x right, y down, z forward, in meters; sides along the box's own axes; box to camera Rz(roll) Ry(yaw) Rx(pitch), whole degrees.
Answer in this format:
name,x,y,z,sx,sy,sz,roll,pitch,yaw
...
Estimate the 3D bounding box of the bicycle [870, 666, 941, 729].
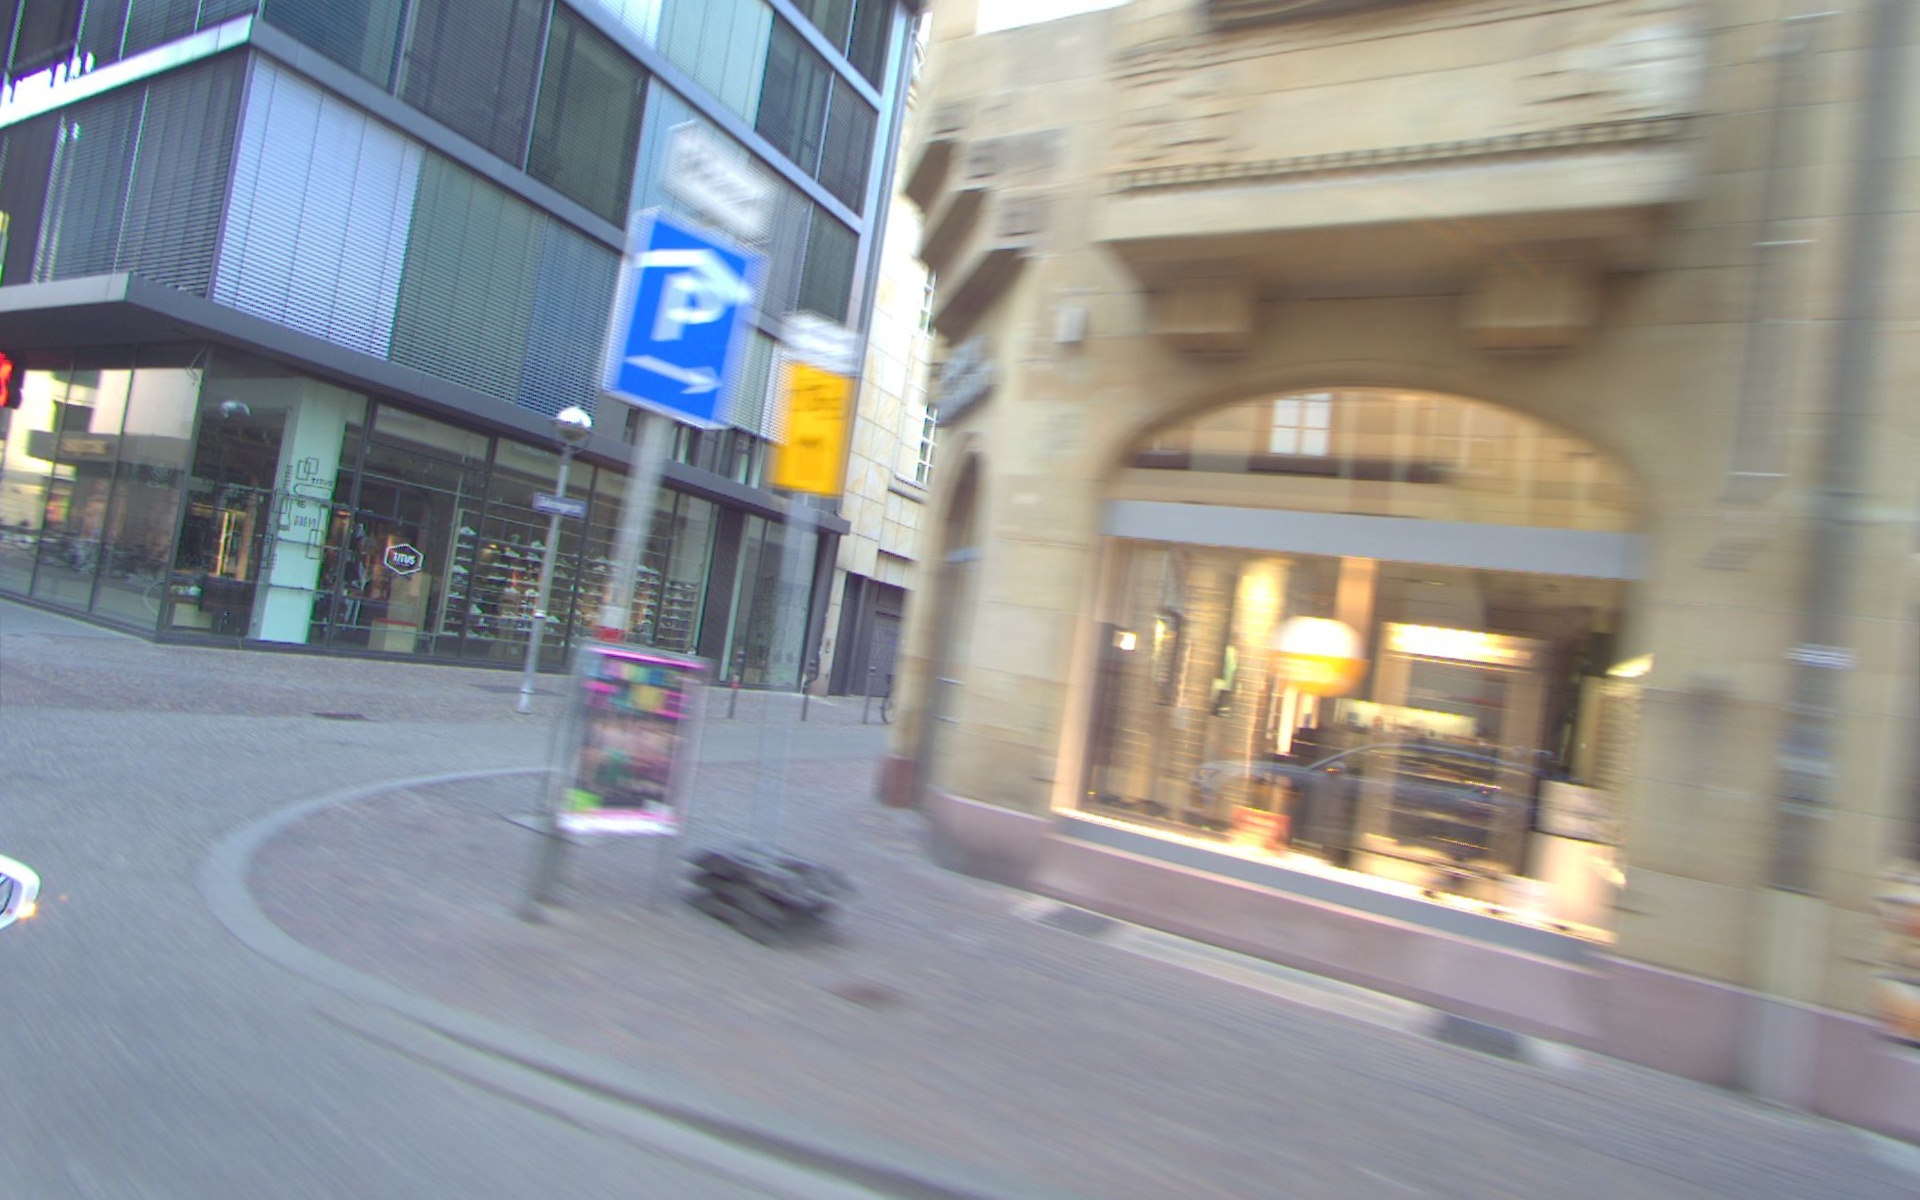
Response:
name,x,y,z,sx,sy,sz,roll,pitch,yaw
bicycle,-1.071,1.998,20.400,0.404,1.144,1.932,7,-3,26
